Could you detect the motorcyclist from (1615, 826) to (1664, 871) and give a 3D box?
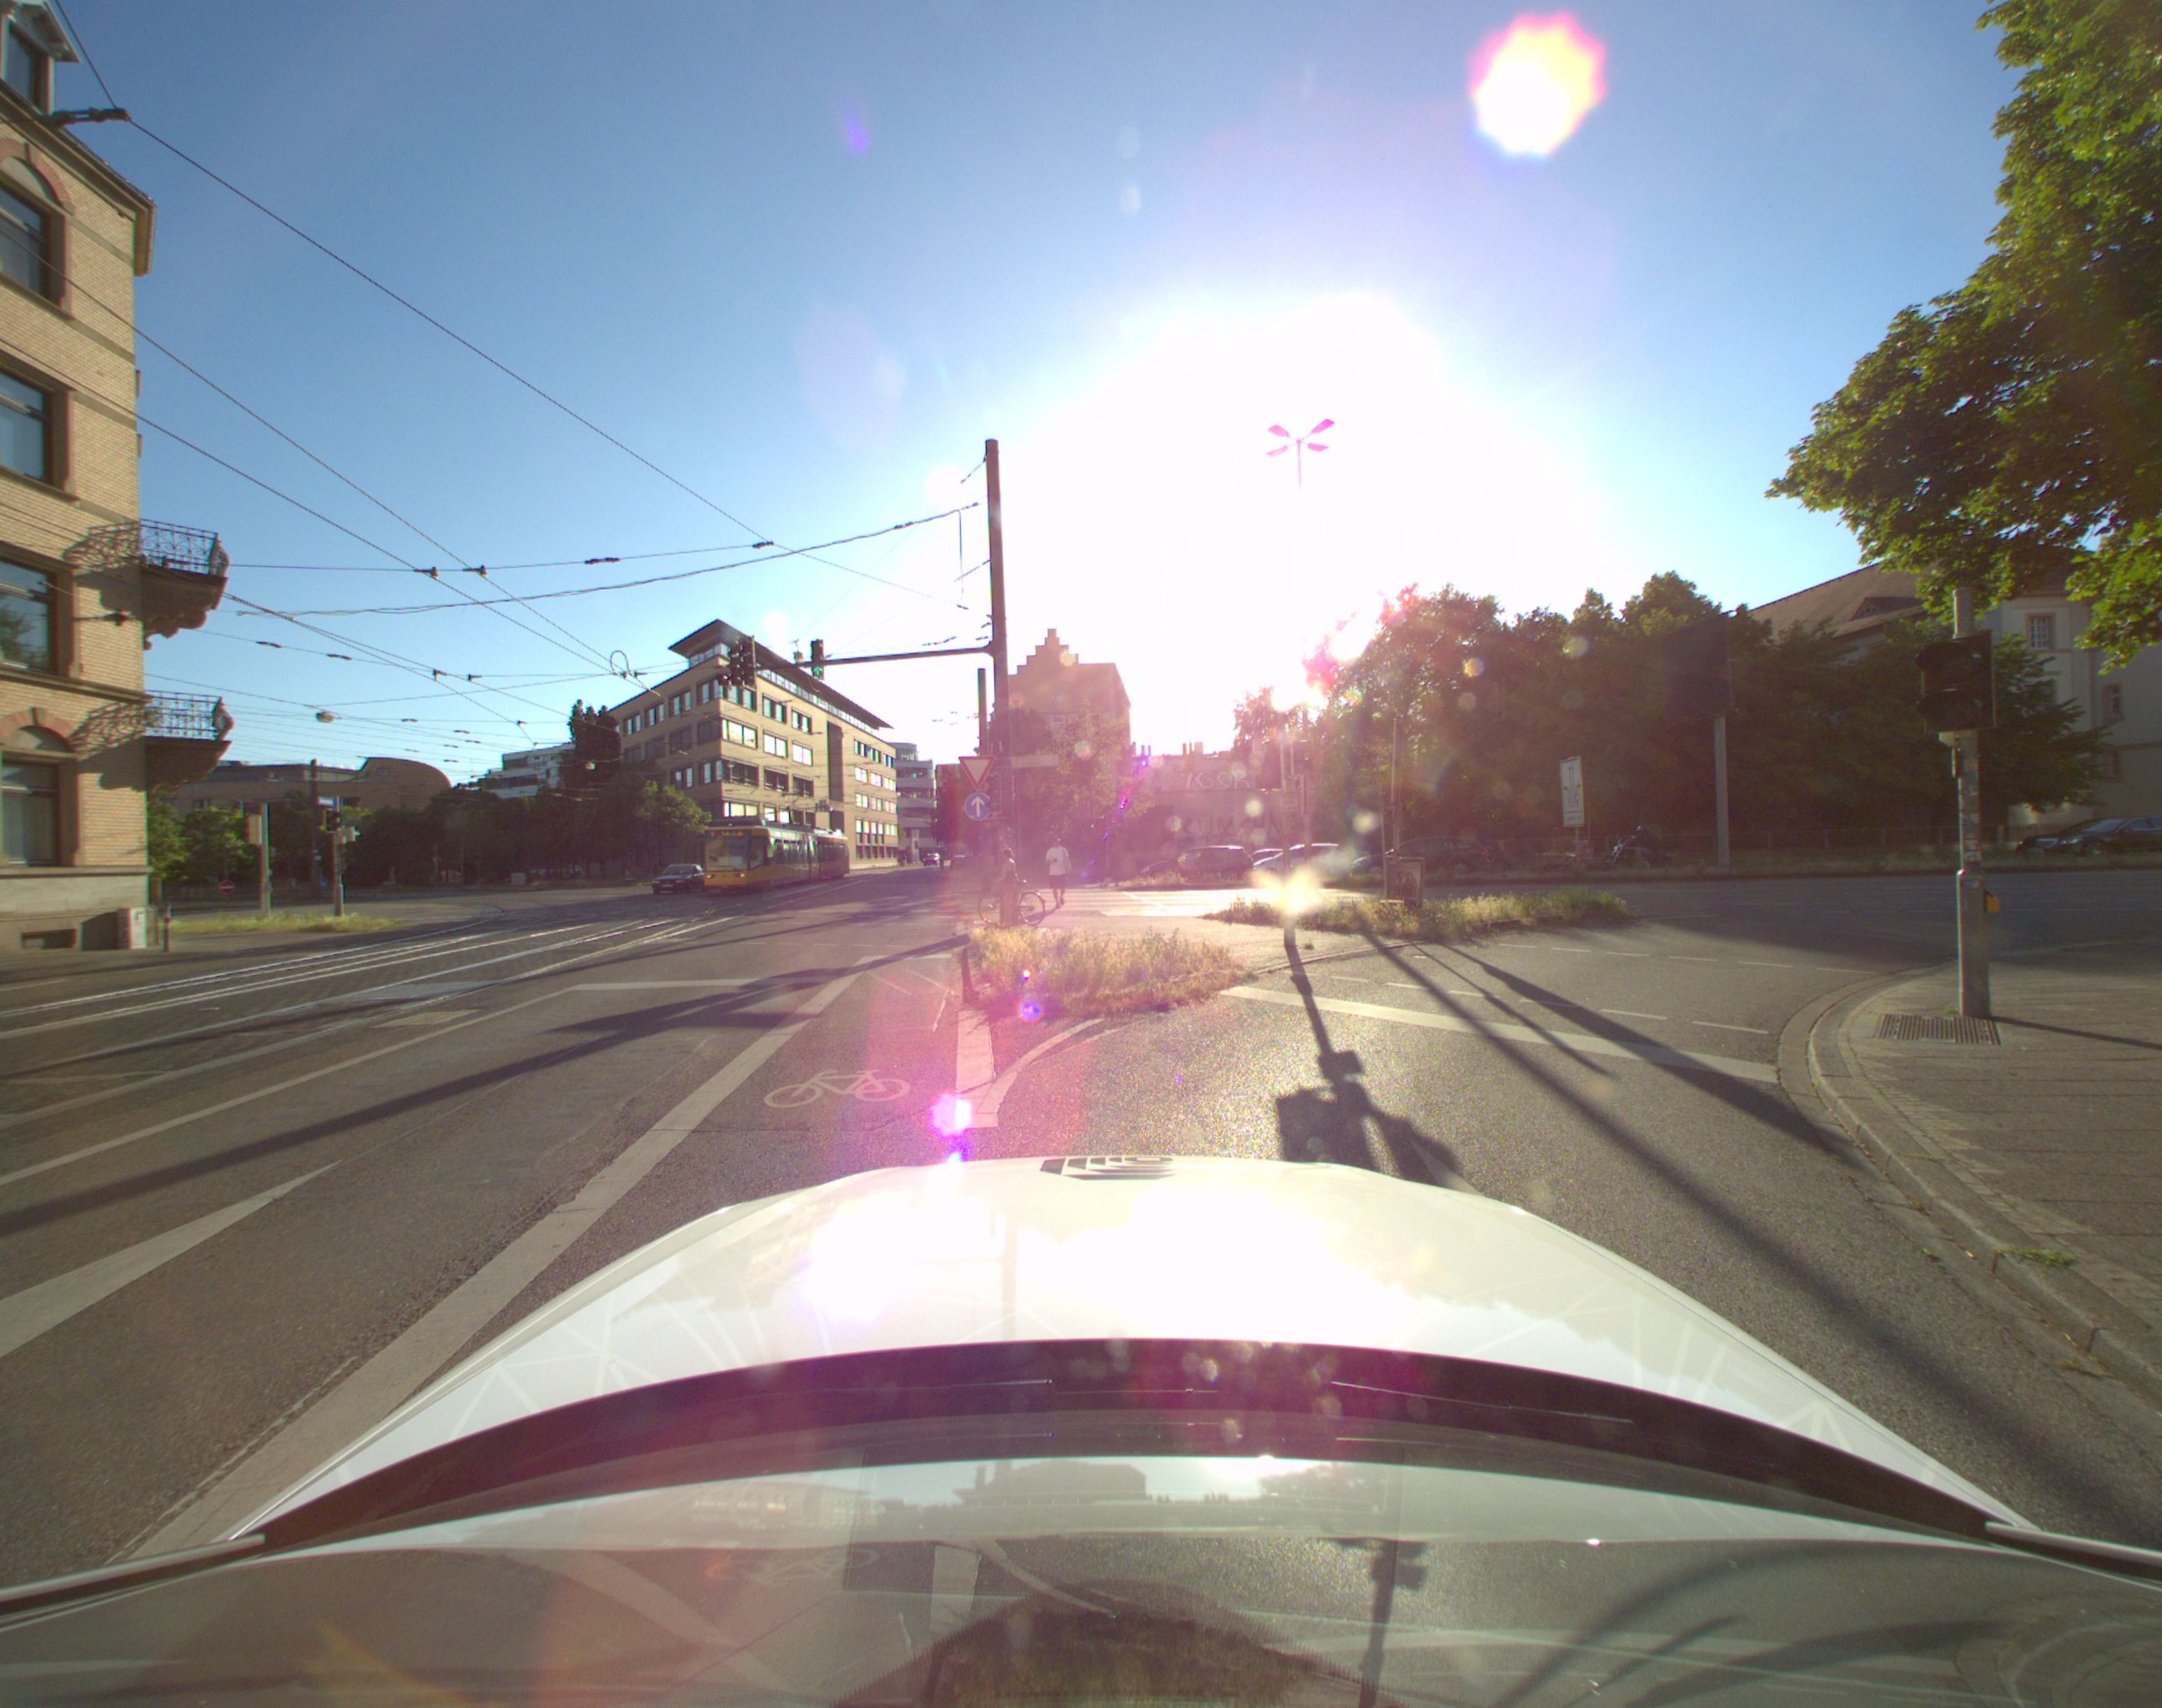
[{"bbox_3d":[18.086,-0.174,26.400,1.050,1.398,0.858,-2,0,16],"label":"motorcyclist"}]

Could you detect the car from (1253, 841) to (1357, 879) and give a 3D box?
[{"bbox_3d":[8.872,0.231,32.399,3.854,1.319,1.731,-2,0,13],"label":"car"}]

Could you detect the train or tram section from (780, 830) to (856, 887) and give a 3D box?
[{"bbox_3d":[-18.252,0.297,57.374,2.858,3.507,11.269,-2,0,-7],"label":"train or tram section"}]

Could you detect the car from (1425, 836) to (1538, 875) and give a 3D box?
[{"bbox_3d":[16.991,0.045,34.726,3.963,1.464,1.865,-2,1,9],"label":"car"}]

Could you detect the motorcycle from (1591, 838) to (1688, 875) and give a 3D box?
[{"bbox_3d":[18.069,0.087,26.413,2.443,1.108,0.865,-2,0,15],"label":"motorcycle"}]

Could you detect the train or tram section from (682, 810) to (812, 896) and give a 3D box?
[{"bbox_3d":[-15.980,-0.038,40.264,2.860,3.507,12.975,-2,0,-9],"label":"train or tram section"}]

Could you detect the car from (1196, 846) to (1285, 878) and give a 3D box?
[{"bbox_3d":[7.299,0.375,37.115,3.854,1.296,1.731,-2,0,13],"label":"car"}]

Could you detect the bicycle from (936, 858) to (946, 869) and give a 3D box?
[{"bbox_3d":[-12.766,0.855,74.257,0.694,0.877,2.023,-2,0,-5],"label":"bicycle"}]

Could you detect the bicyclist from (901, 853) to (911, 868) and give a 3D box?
[{"bbox_3d":[-23.589,0.847,109.718,1.025,2.014,1.248,0,-1,3],"label":"bicyclist"}]

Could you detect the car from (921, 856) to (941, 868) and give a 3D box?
[{"bbox_3d":[-20.760,1.112,112.724,1.809,1.614,4.467,-2,0,2],"label":"car"}]

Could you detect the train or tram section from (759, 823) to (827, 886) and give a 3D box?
[{"bbox_3d":[-17.306,0.035,49.289,2.860,3.507,5.287,-2,0,-9],"label":"train or tram section"}]

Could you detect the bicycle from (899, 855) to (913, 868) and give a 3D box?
[{"bbox_3d":[-23.579,0.956,109.689,1.025,1.651,2.563,-2,0,4],"label":"bicycle"}]

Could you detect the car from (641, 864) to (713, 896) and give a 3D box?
[{"bbox_3d":[-19.508,1.212,39.515,1.808,1.380,4.151,-2,0,-8],"label":"car"}]

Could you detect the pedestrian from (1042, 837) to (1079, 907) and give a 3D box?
[{"bbox_3d":[-0.525,0.462,21.452,0.906,1.789,0.827,-2,0,-1],"label":"pedestrian"}]

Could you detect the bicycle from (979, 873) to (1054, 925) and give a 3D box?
[{"bbox_3d":[-1.364,0.926,17.027,1.650,1.029,0.402,-2,0,35],"label":"bicycle"}]

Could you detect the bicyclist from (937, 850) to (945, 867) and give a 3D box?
[{"bbox_3d":[-12.793,0.435,74.367,0.672,1.522,0.812,-2,0,-6],"label":"bicyclist"}]

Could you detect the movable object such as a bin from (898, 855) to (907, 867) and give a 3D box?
[{"bbox_3d":[-25.062,0.949,114.487,1.062,1.628,0.889,-2,0,0],"label":"movable object such as a bin"}]

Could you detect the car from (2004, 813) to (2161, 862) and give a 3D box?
[{"bbox_3d":[34.984,-0.594,27.311,5.243,1.496,2.005,-2,0,9],"label":"car"}]

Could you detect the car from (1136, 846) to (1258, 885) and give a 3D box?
[{"bbox_3d":[4.293,0.416,30.070,4.201,1.296,1.732,-2,0,17],"label":"car"}]

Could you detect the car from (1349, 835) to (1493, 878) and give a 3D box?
[{"bbox_3d":[11.449,0.092,27.722,4.329,1.296,1.732,-2,0,15],"label":"car"}]

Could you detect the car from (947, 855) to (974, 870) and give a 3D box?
[{"bbox_3d":[-11.778,0.818,80.017,1.777,1.388,4.004,-2,0,4],"label":"car"}]

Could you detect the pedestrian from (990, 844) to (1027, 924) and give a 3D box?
[{"bbox_3d":[-1.508,0.621,17.022,0.518,1.631,0.492,-2,0,34],"label":"pedestrian"}]
